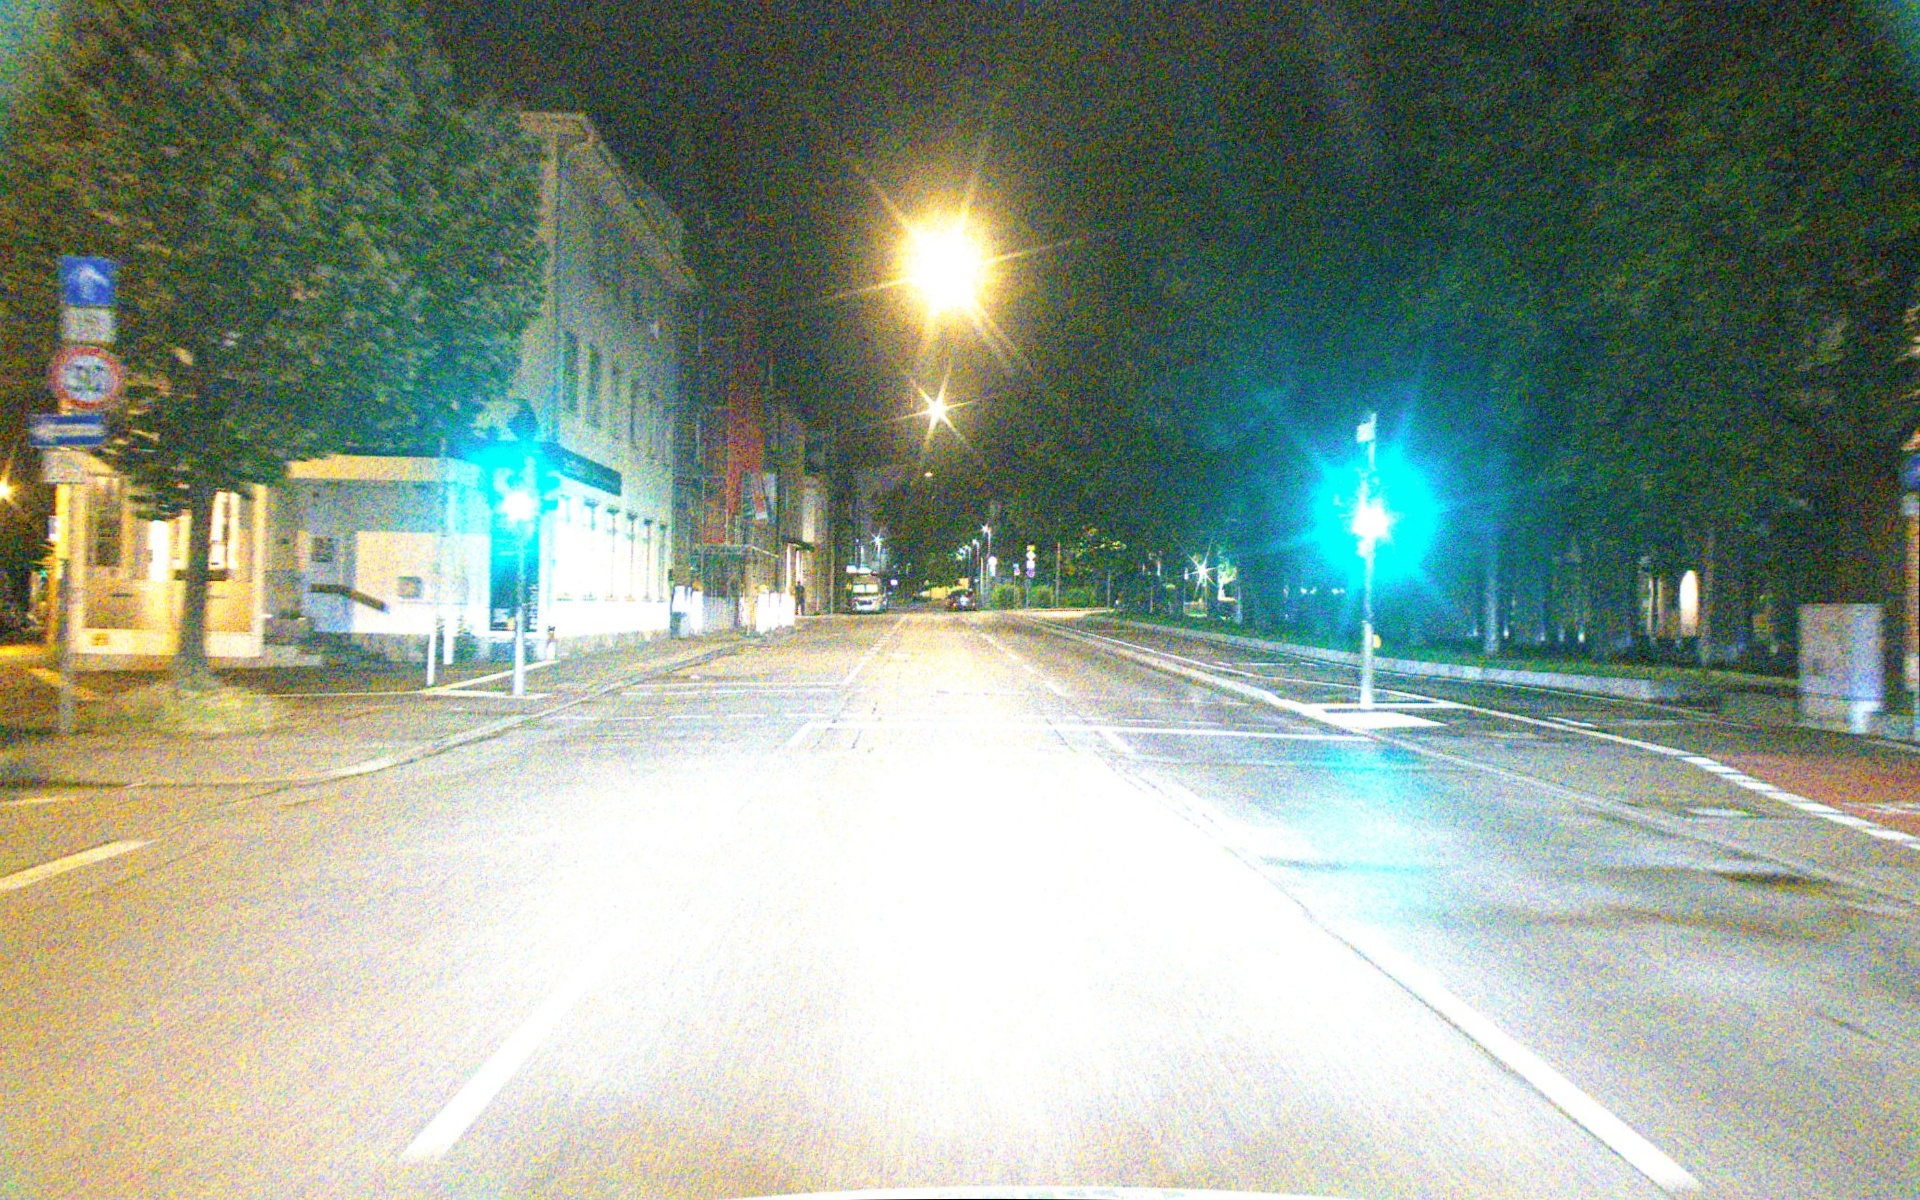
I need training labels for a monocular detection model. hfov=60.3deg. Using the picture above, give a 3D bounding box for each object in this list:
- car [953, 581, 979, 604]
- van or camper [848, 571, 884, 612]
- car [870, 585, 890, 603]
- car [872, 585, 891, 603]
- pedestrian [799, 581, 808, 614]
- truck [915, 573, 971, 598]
[{"bbox_3d":[0.477,-0.563,121.139,1.845,1.631,4.107,-1,0,1],"label":"car"},{"bbox_3d":[-6.260,-0.564,110.553,2.115,2.580,6.224,-2,0,-2],"label":"van or camper"},{"bbox_3d":[-6.926,-0.511,143.970,1.670,1.536,4.098,1,0,-2],"label":"car"},{"bbox_3d":[-7.110,-0.519,149.749,1.643,1.594,4.103,0,0,-1],"label":"car"},{"bbox_3d":[-8.263,-0.141,87.083,0.408,1.738,0.440,0,-1,-14],"label":"pedestrian"},{"bbox_3d":[-2.066,-1.694,198.800,6.643,2.894,1.998,1,0,-4],"label":"truck"}]
